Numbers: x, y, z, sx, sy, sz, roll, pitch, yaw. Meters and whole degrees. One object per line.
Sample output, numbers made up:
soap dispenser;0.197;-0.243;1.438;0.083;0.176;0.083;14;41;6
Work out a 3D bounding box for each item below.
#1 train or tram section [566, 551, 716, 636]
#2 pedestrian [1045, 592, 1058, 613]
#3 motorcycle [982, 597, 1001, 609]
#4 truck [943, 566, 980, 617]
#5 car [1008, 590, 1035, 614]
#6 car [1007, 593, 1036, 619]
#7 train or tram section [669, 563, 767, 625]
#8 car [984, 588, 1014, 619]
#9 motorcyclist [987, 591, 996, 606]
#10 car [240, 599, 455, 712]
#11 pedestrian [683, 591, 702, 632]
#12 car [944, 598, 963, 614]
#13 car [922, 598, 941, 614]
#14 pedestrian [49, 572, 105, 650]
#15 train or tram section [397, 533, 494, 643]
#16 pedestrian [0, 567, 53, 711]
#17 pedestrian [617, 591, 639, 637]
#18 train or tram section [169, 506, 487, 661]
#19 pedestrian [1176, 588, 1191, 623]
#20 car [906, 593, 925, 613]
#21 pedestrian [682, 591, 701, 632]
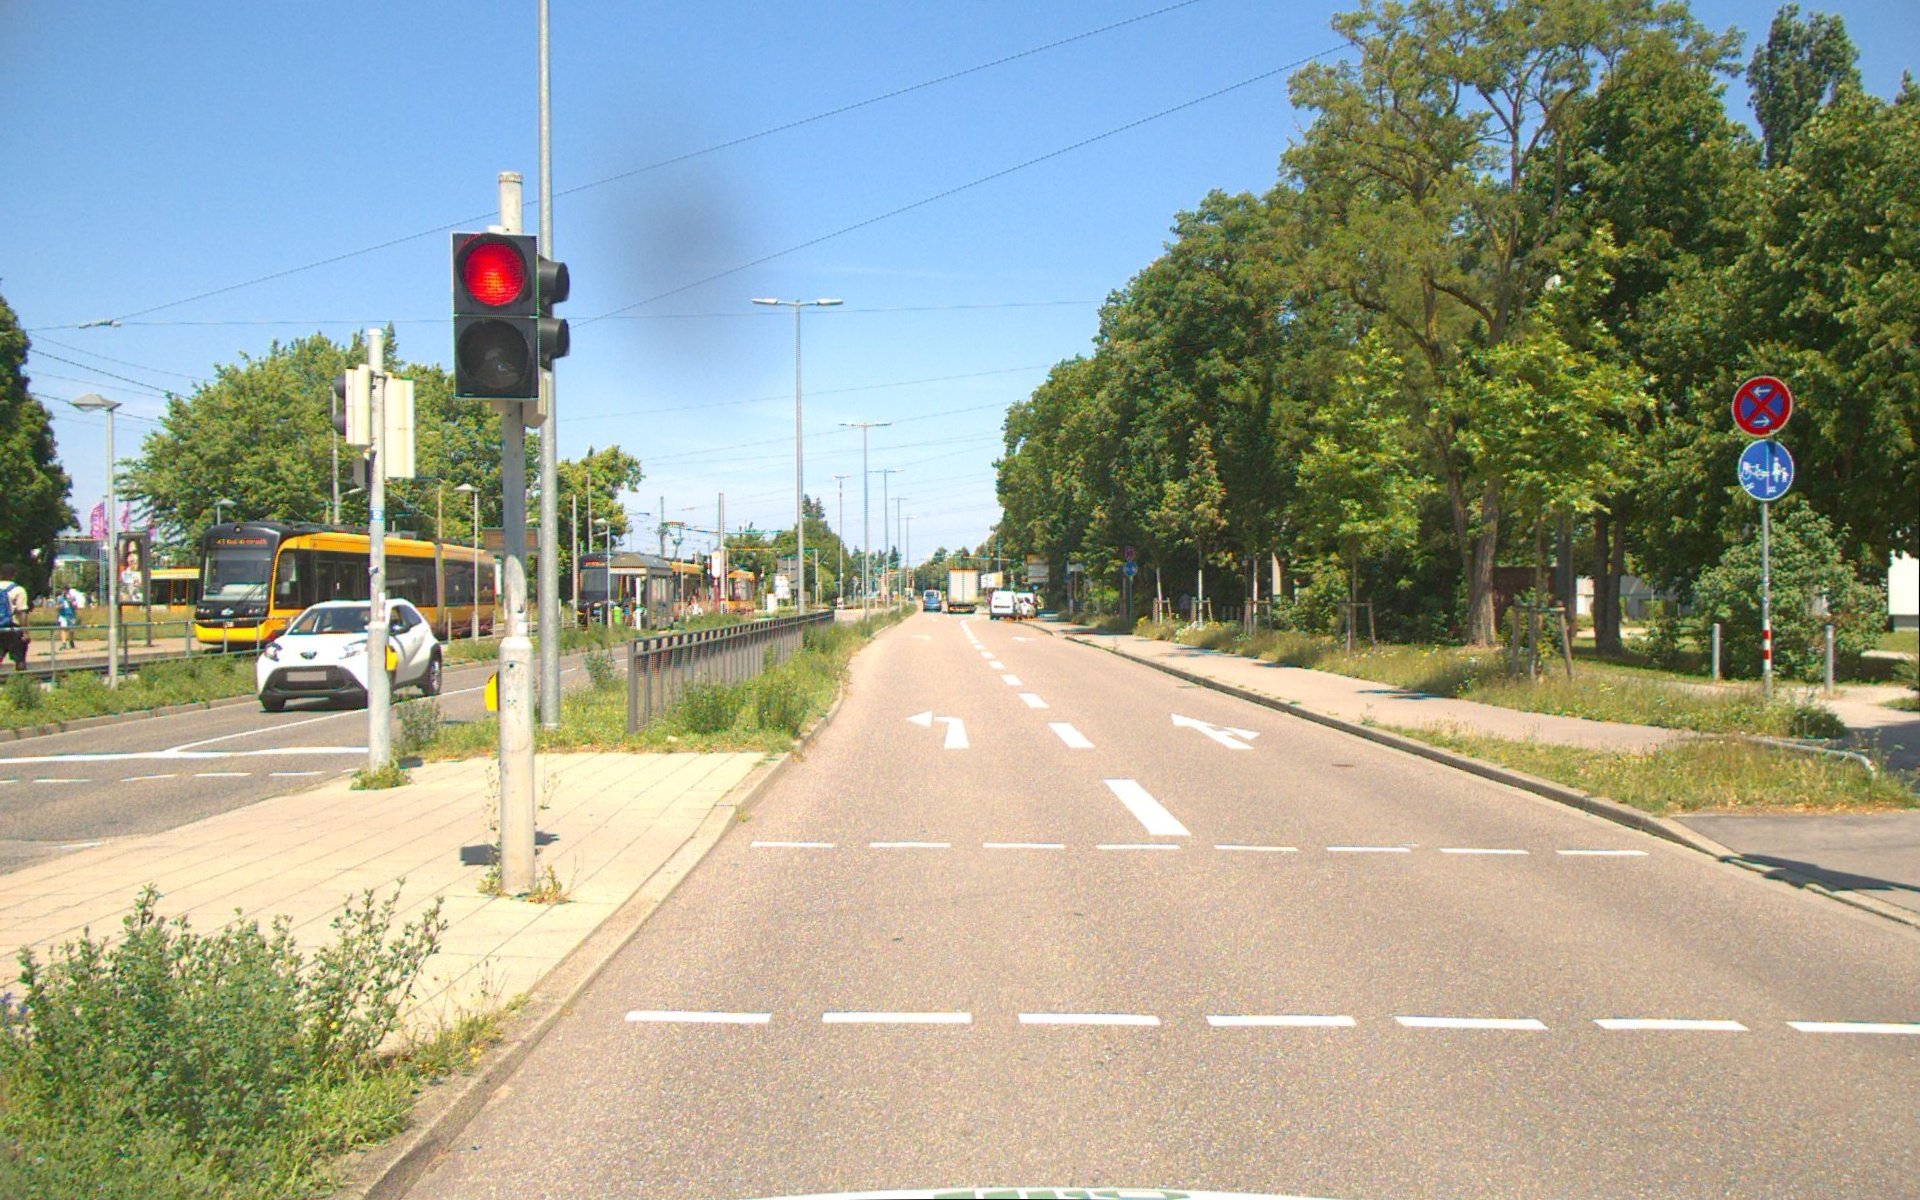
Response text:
train or tram section;-16.402;-0.346;88.663;2.898;3.815;30.024;0;0;-1
pedestrian;9.017;0.286;163.464;1.161;2.049;1.213;0;0;-1
motorcycle;3.849;0.396;203.003;2.144;1.431;0.845;0;0;-12
truck;0.060;-0.735;146.059;3.140;4.435;6.559;0;0;-1
car;4.397;0.114;118.848;1.743;1.698;3.999;0;0;-1
car;4.174;0.395;112.497;1.743;1.698;3.999;0;0;-1
train or tram section;-17.091;-0.435;120.274;2.871;3.856;33.079;0;0;-1
car;2.446;0.217;105.543;1.743;1.937;3.999;0;0;-1
motorcyclist;3.840;-0.143;203.027;0.908;1.867;0.847;0;0;-12
car;-8.958;0.754;24.521;1.807;1.521;3.790;0;0;-1
pedestrian;-13.472;0.586;83.432;0.798;2.049;0.938;0;0;-1
car;-0.601;0.557;153.593;1.774;1.490;3.999;0;0;-1
car;-2.697;0.517;157.829;1.774;1.490;3.999;0;0;-1
pedestrian;-23.468;0.297;43.971;0.961;2.049;1.021;0;0;-1
train or tram section;-21.341;-0.464;69.520;3.162;4.000;18.425;0;0;-15
pedestrian;-12.734;0.505;22.067;0.703;1.808;0.842;4;2;-1
pedestrian;-13.855;0.589;69.073;0.769;1.901;0.817;0;0;-1
train or tram section;-18.976;-0.465;51.975;3.150;4.000;18.497;0;0;-1
pedestrian;9.369;0.227;69.313;0.591;1.463;0.556;0;0;6
car;-4.710;0.326;175.082;1.953;2.049;3.999;0;0;-1
pedestrian;-13.749;0.587;84.721;0.798;2.049;0.938;0;0;-1
